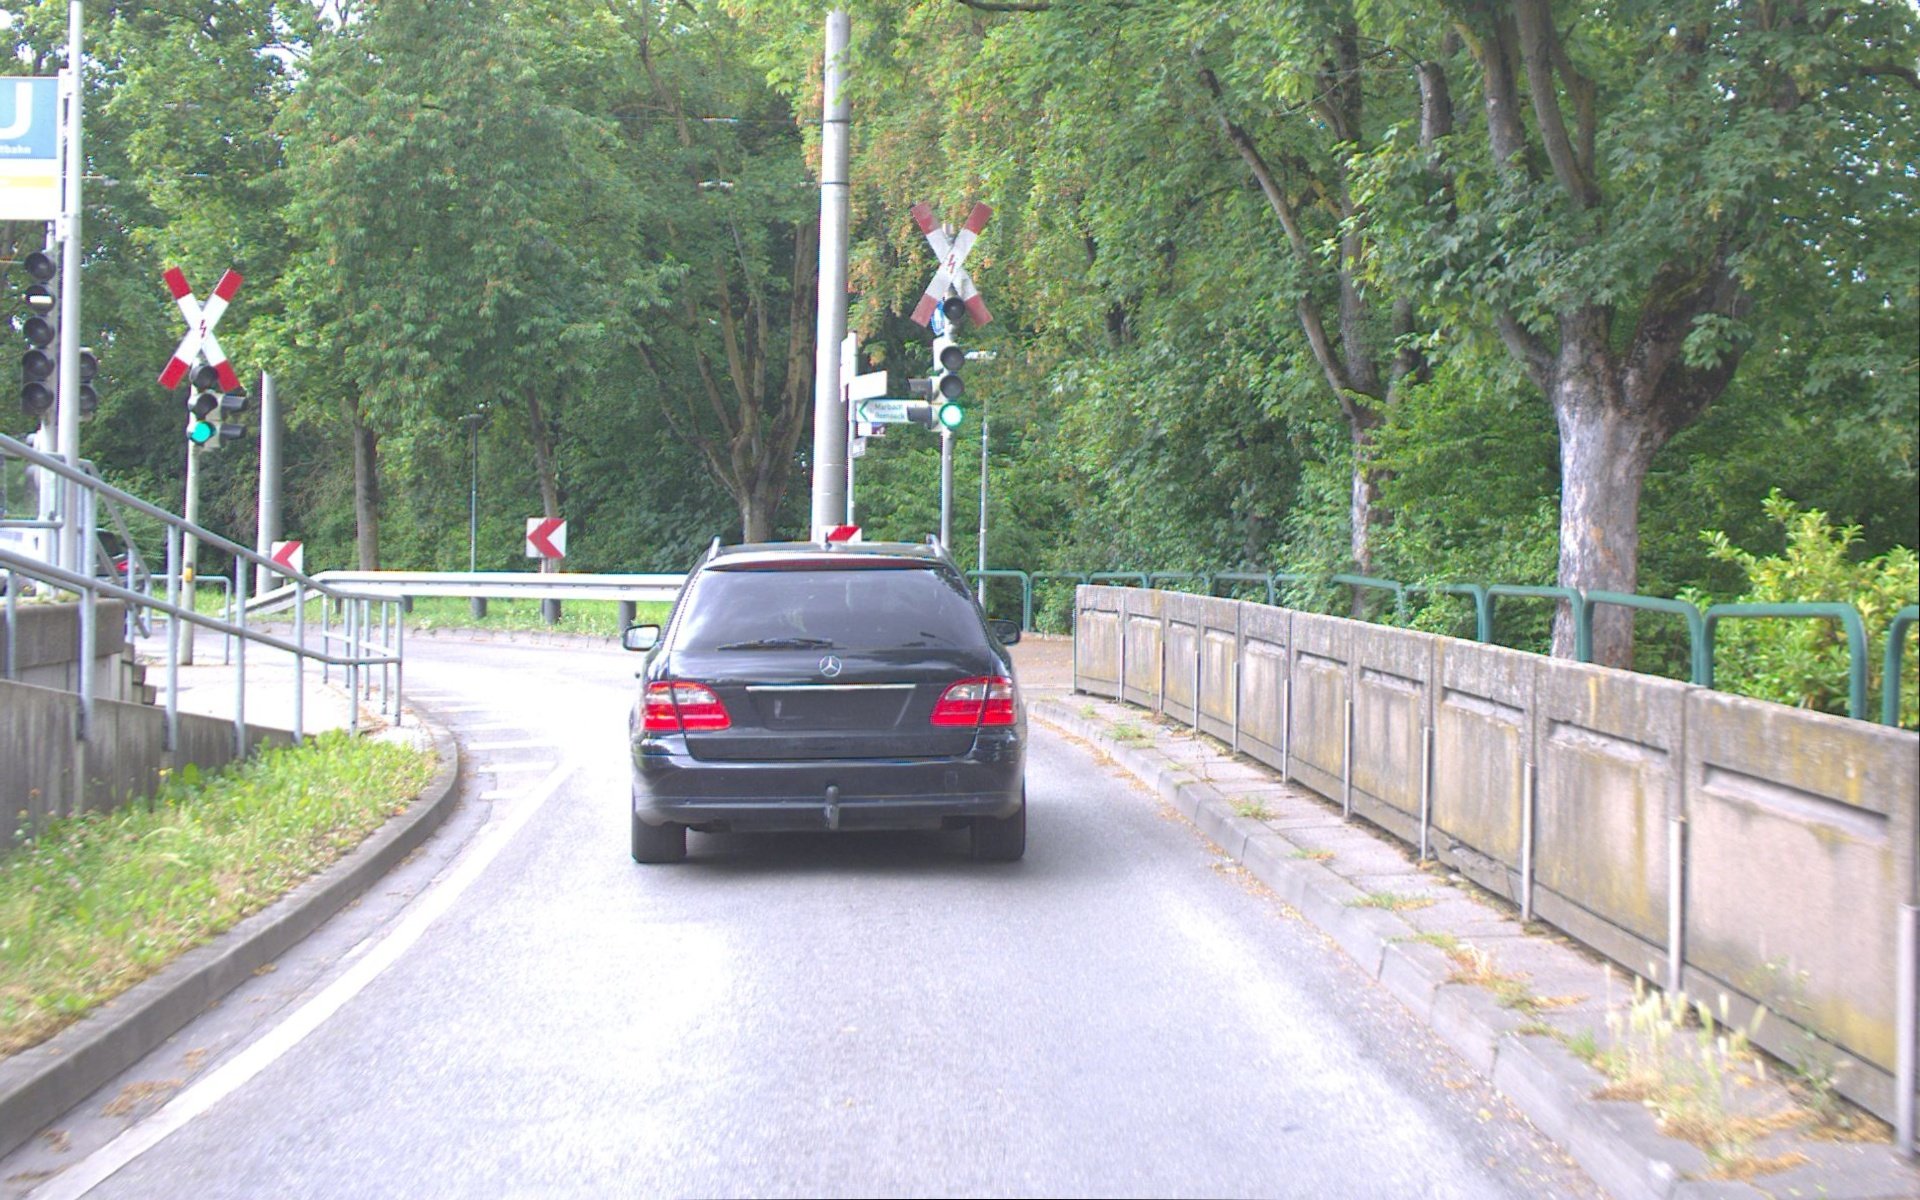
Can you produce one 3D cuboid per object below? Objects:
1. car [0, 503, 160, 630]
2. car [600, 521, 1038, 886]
[{"bbox_3d":[-12.815,-0.491,46.899,3.997,1.642,1.783,3,1,44],"label":"car"},{"bbox_3d":[-0.798,0.388,16.560,1.781,1.520,4.001,0,2,-7],"label":"car"}]
